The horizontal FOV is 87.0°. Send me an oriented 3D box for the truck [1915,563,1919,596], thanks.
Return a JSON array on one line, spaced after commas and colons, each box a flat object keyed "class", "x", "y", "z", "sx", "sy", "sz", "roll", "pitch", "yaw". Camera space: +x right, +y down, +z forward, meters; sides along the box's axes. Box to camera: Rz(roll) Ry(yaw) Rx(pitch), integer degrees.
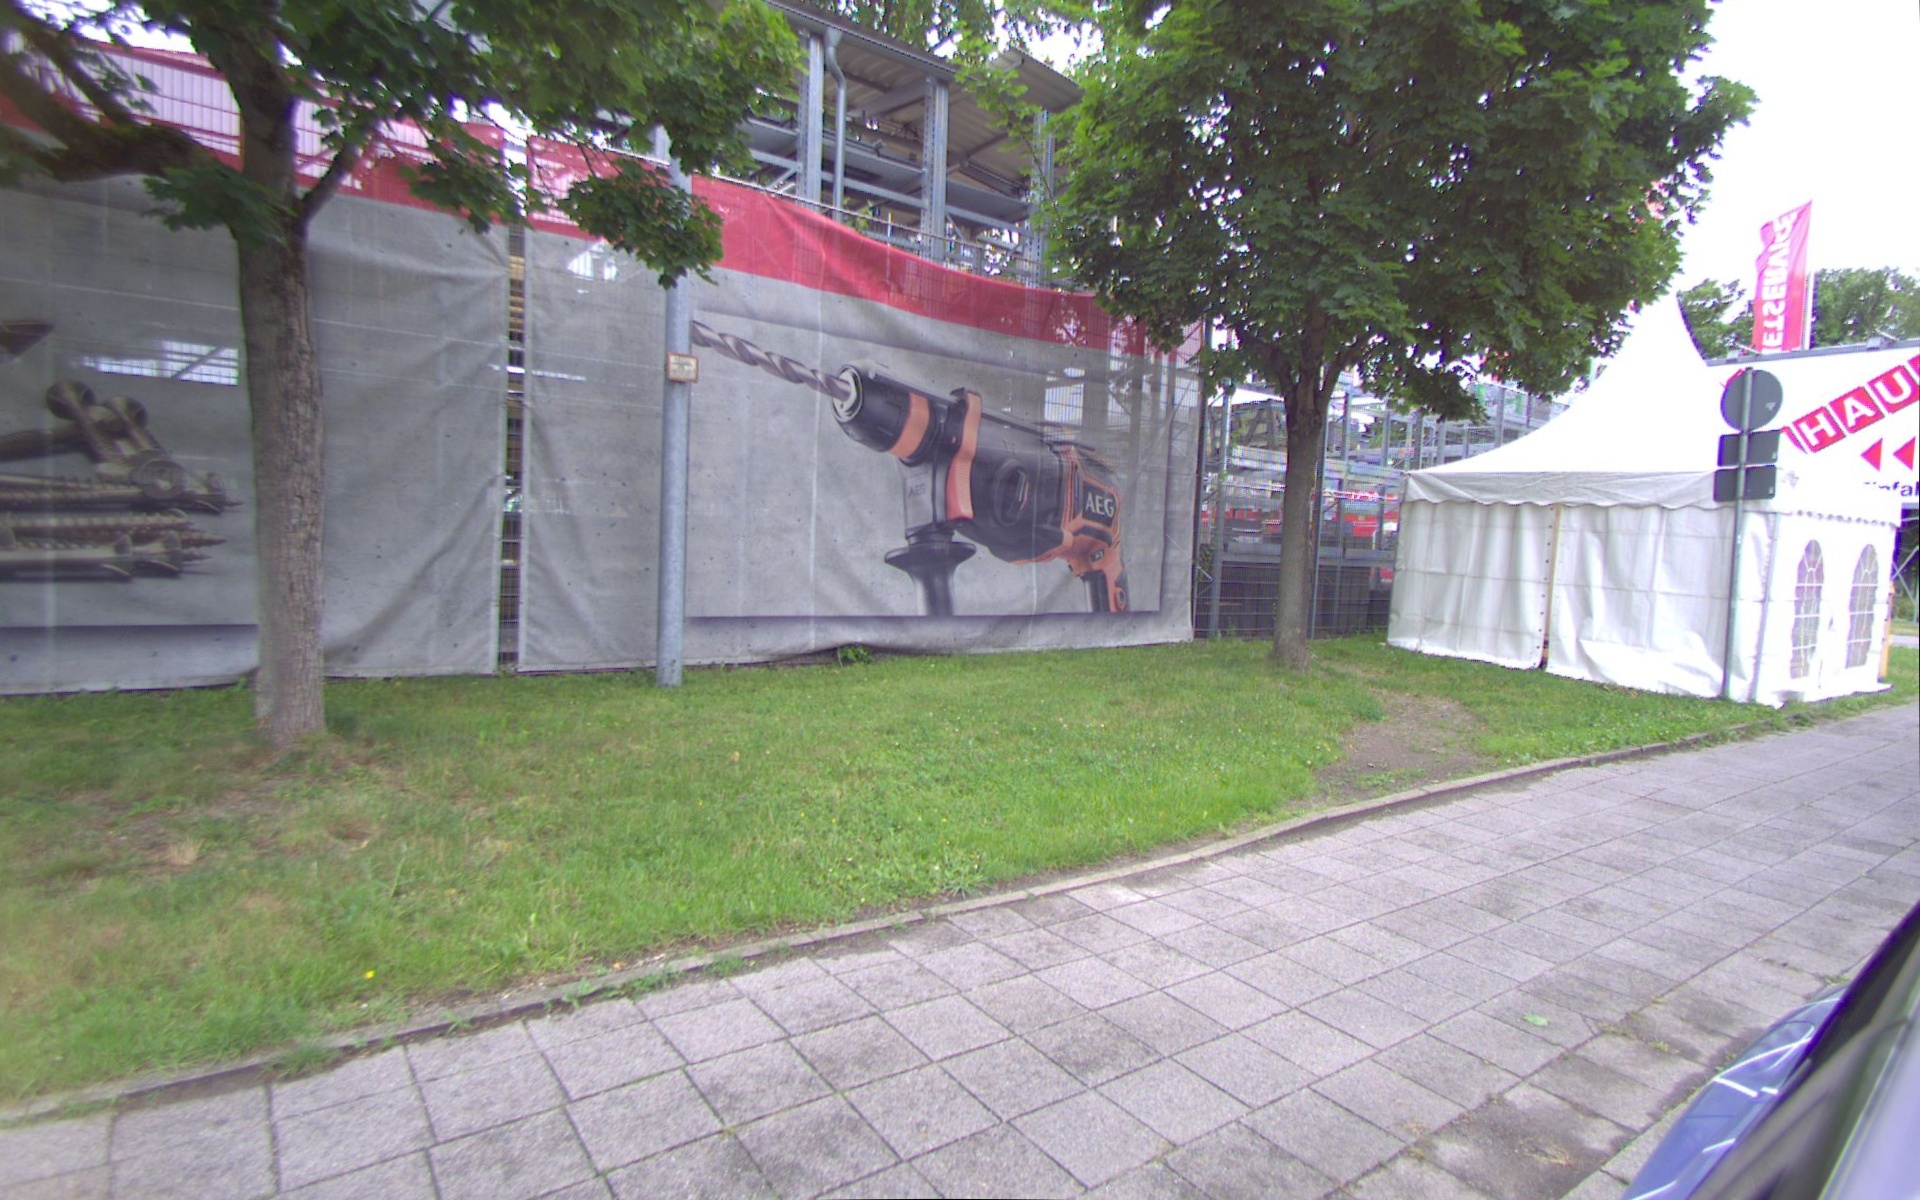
[{"class": "truck", "x": 73.197, "y": -1.373, "z": 74.340, "sx": 3.928, "sy": 2.425, "sz": 1.999, "roll": 3, "pitch": 3, "yaw": 4}]
